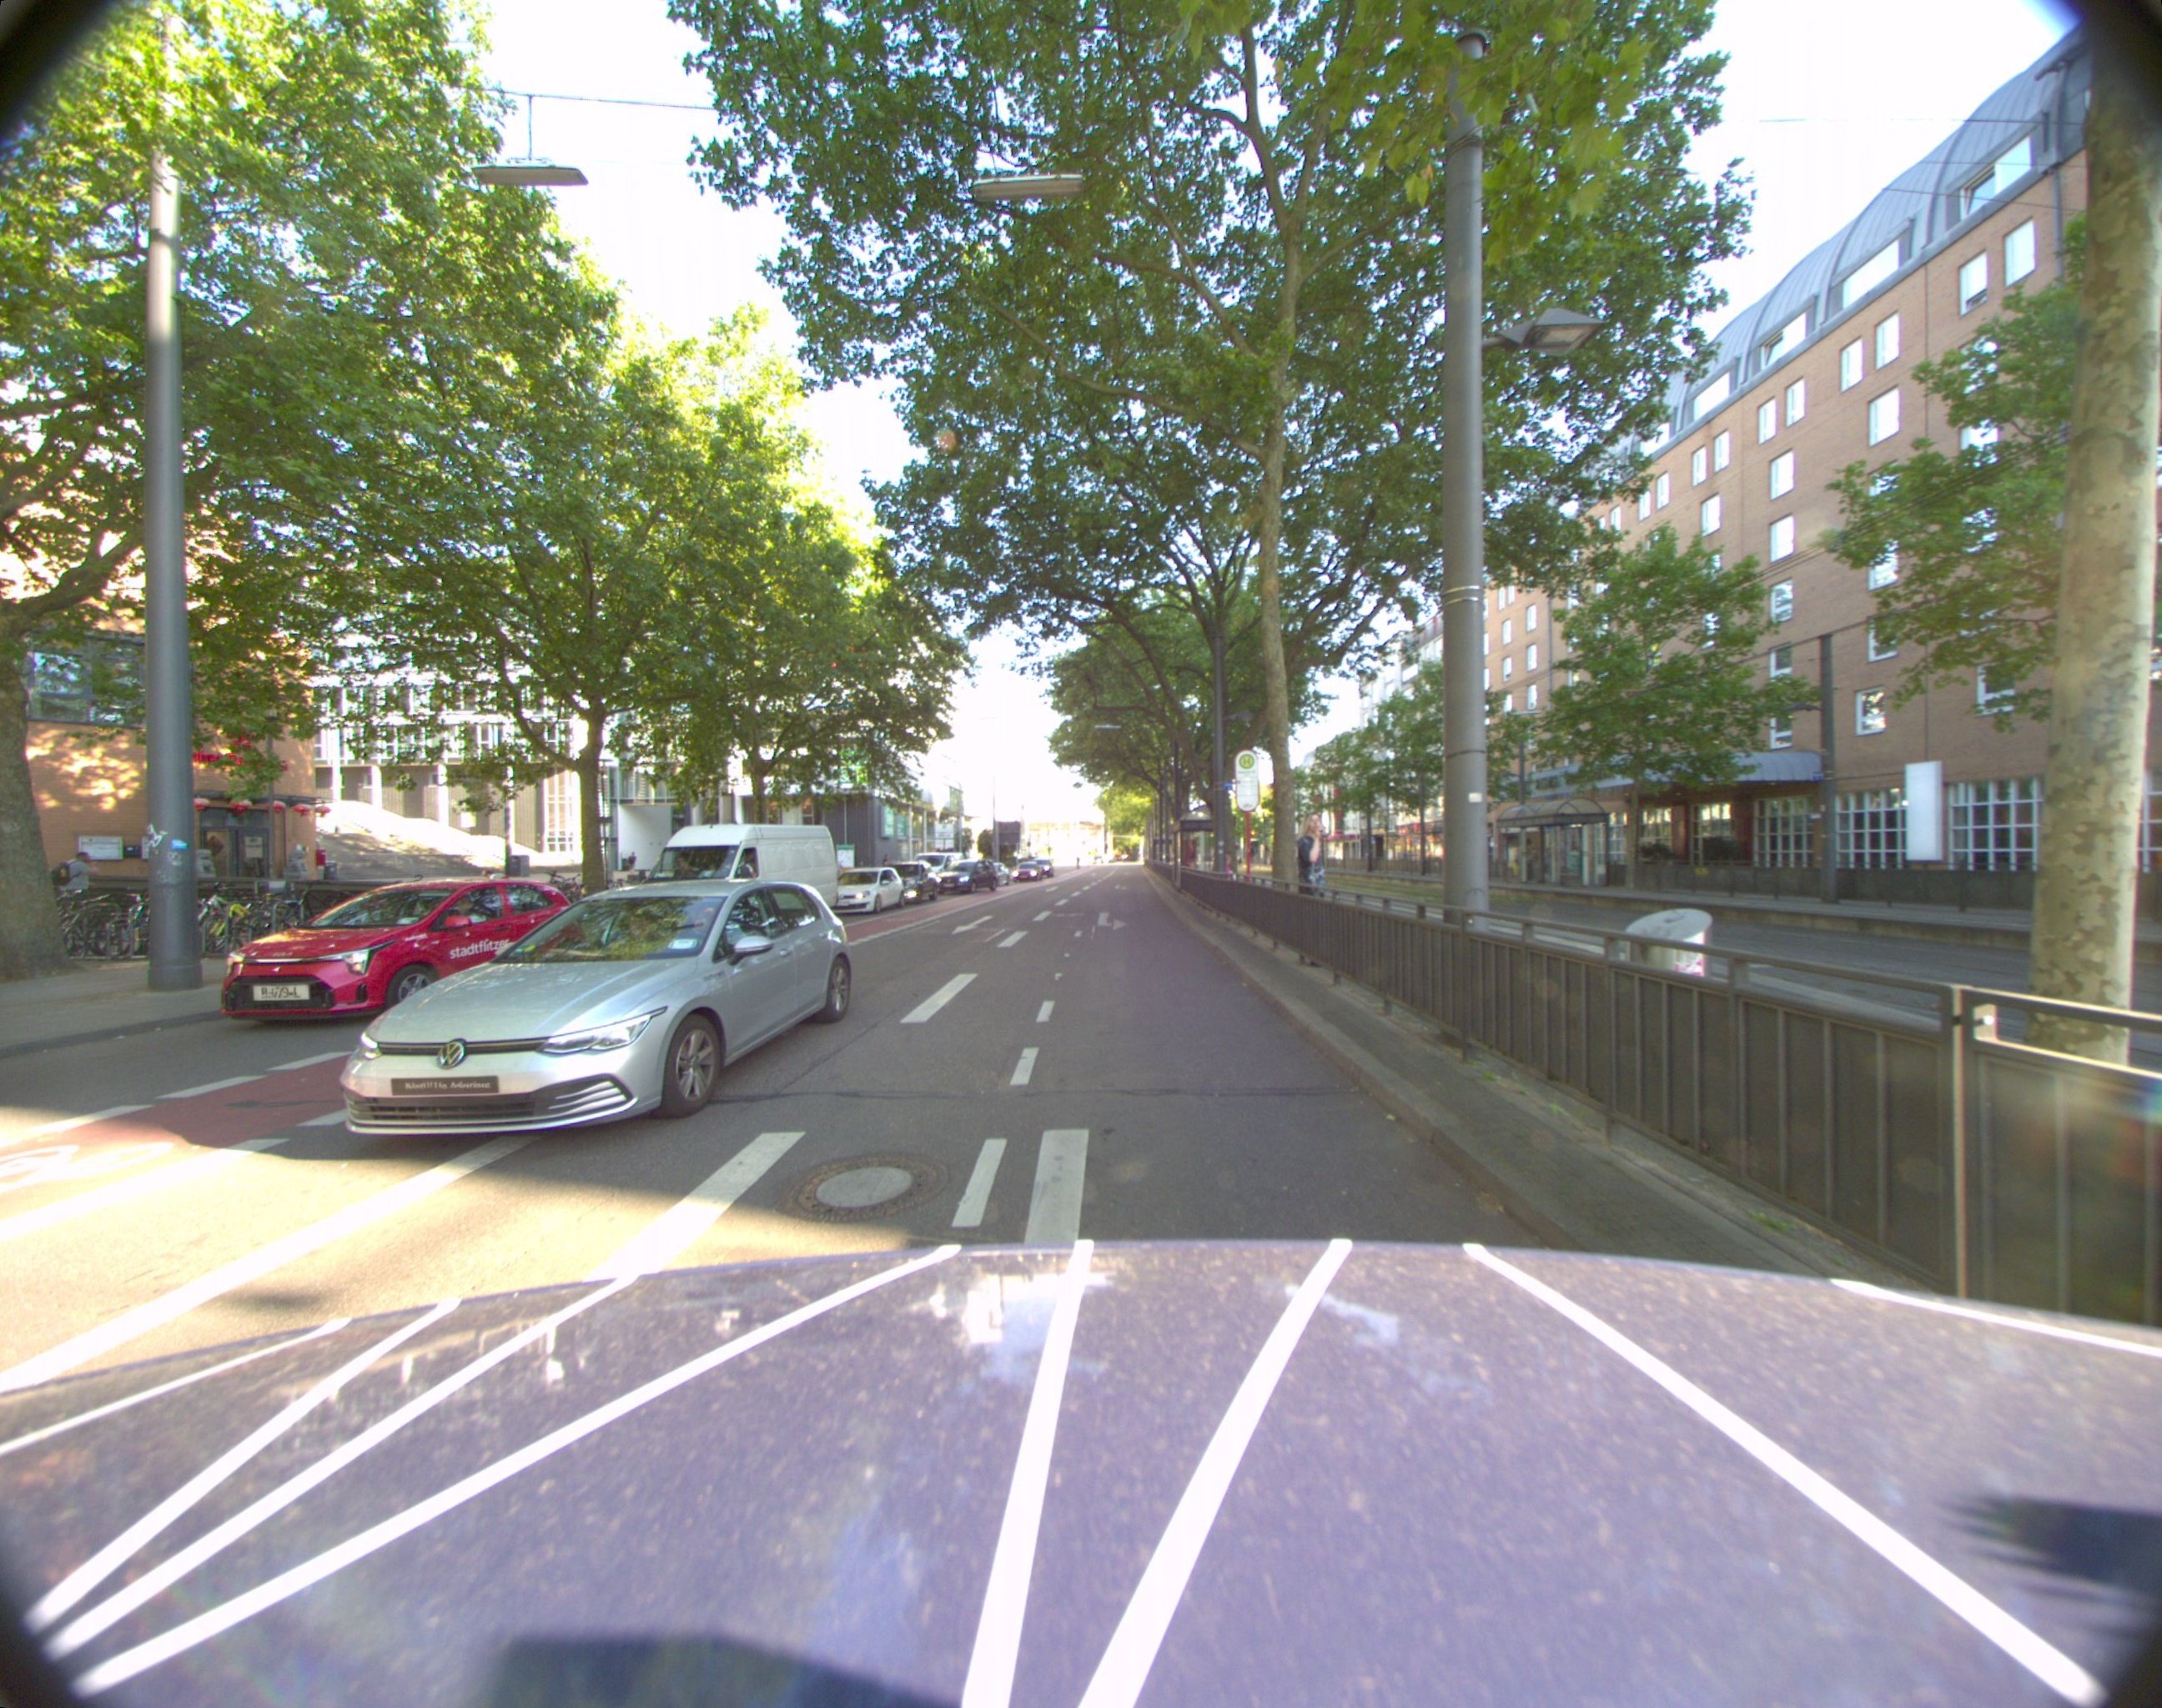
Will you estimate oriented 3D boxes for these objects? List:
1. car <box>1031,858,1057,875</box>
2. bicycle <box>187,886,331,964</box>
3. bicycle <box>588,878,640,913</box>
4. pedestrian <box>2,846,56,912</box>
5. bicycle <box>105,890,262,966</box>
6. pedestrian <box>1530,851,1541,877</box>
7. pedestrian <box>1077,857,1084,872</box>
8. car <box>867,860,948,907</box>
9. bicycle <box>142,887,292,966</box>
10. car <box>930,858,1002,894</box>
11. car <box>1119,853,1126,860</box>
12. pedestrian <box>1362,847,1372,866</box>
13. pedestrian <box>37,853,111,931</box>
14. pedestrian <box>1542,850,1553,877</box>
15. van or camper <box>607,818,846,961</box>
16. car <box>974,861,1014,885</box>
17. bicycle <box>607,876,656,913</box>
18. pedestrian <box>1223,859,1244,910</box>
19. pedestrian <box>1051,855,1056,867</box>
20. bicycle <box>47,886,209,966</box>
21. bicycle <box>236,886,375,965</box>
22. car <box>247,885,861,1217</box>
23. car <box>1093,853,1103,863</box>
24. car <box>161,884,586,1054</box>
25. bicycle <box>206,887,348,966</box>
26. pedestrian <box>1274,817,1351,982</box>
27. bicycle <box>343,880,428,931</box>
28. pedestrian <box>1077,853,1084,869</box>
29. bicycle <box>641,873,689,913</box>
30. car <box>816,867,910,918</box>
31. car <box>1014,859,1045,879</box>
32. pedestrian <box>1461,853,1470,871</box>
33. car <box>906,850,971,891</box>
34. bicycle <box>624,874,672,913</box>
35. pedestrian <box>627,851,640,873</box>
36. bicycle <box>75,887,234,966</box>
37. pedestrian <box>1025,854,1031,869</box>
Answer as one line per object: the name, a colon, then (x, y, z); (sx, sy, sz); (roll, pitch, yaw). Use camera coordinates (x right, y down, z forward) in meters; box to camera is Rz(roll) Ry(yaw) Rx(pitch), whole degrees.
car: (-3.125, 1.056, 65.344); (1.801, 1.438, 4.001); (0, 0, 3)
bicycle: (-14.327, 1.200, 13.330); (0.484, 1.187, 1.850); (0, 0, 1)
bicycle: (-15.221, 1.330, 24.799); (0.516, 1.027, 1.850); (0, 0, 1)
pedestrian: (-32.955, 0.781, 23.802); (0.875, 2.025, 0.586); (0, 1, 6)
bicycle: (-15.426, 1.236, 13.139); (0.485, 1.118, 1.850); (0, 0, 1)
pedestrian: (26.305, 0.558, 43.985); (0.438, 1.497, 0.659); (0, 1, 23)
pedestrian: (-0.077, 1.370, 101.030); (0.773, 2.002, 0.830); (-2, 1, 1)
car: (-6.686, 1.086, 29.707); (1.818, 1.610, 4.229); (-1, 0, 5)
bicycle: (-14.843, 1.199, 13.130); (0.447, 1.187, 1.850); (0, 0, 1)
car: (-5.532, 1.018, 37.105); (1.964, 1.610, 4.335); (-1, 0, 14)
car: (13.270, 0.734, 243.401); (1.998, 2.002, 4.001); (-1, 0, 4)
pedestrian: (30.857, 0.300, 82.011); (0.806, 2.002, 0.763); (-1, 1, 1)
pedestrian: (-23.465, 0.866, 17.707); (0.601, 1.773, 0.889); (0, 1, 23)
pedestrian: (26.864, 0.542, 43.736); (0.438, 1.511, 0.659); (0, 1, 23)
van or camper: (-7.518, 0.644, 17.194); (1.998, 2.563, 6.575); (-2, 0, 3)
car: (-5.491, 1.170, 48.384); (1.801, 1.369, 4.001); (0, 0, 3)
bicycle: (-14.659, 1.309, 24.824); (0.522, 1.088, 1.797); (0, 0, 1)
pedestrian: (3.932, 0.778, 19.628); (0.500, 1.308, 0.419); (0, 1, 8)
pedestrian: (-3.883, 1.016, 108.306); (0.611, 1.644, 0.583); (-1, 1, 1)
bicycle: (-16.388, 1.198, 13.144); (0.435, 1.187, 1.850); (0, 0, 1)
bicycle: (-13.318, 1.194, 13.134); (0.482, 1.187, 1.850); (0, 0, 1)
car: (-3.227, 1.078, 5.802); (1.733, 1.432, 4.000); (-2, 0, 2)
car: (3.662, 0.870, 163.932); (1.998, 2.002, 4.001); (-1, 0, 5)
car: (-7.945, 1.174, 9.079); (1.606, 1.449, 3.651); (-1, 0, 0)
bicycle: (-13.821, 1.204, 13.139); (0.448, 1.187, 1.850); (0, 0, 1)
pedestrian: (2.737, 0.506, 8.997); (0.607, 1.873, 0.622); (-2, 3, -19)
bicycle: (-17.883, 1.287, 19.597); (0.517, 1.187, 1.790); (0, 0, 1)
pedestrian: (-0.058, 0.878, 99.420); (0.773, 2.002, 0.830); (-2, 1, 1)
bicycle: (-13.572, 1.257, 24.846); (0.522, 1.187, 1.850); (0, 0, 1)
car: (-7.025, 1.198, 24.930); (1.682, 1.420, 4.001); (-1, 0, 3)
car: (-3.762, 1.102, 56.491); (1.801, 1.369, 4.001); (0, 0, 3)
pedestrian: (31.319, 0.671, 61.919); (0.519, 1.427, 0.516); (0, 1, 4)
car: (-7.483, 0.825, 40.457); (1.965, 1.983, 4.960); (-1, 0, 7)
bicycle: (-14.115, 1.275, 24.826); (0.495, 1.187, 1.850); (0, 0, 1)
pedestrian: (-31.598, 0.583, 53.612); (0.719, 1.549, 0.639); (-1, 1, -35)
bicycle: (-15.925, 1.203, 13.141); (0.458, 1.187, 1.850); (0, 0, 1)
pedestrian: (-5.820, 0.838, 83.130); (0.648, 1.644, 0.643); (-1, 1, 1)
